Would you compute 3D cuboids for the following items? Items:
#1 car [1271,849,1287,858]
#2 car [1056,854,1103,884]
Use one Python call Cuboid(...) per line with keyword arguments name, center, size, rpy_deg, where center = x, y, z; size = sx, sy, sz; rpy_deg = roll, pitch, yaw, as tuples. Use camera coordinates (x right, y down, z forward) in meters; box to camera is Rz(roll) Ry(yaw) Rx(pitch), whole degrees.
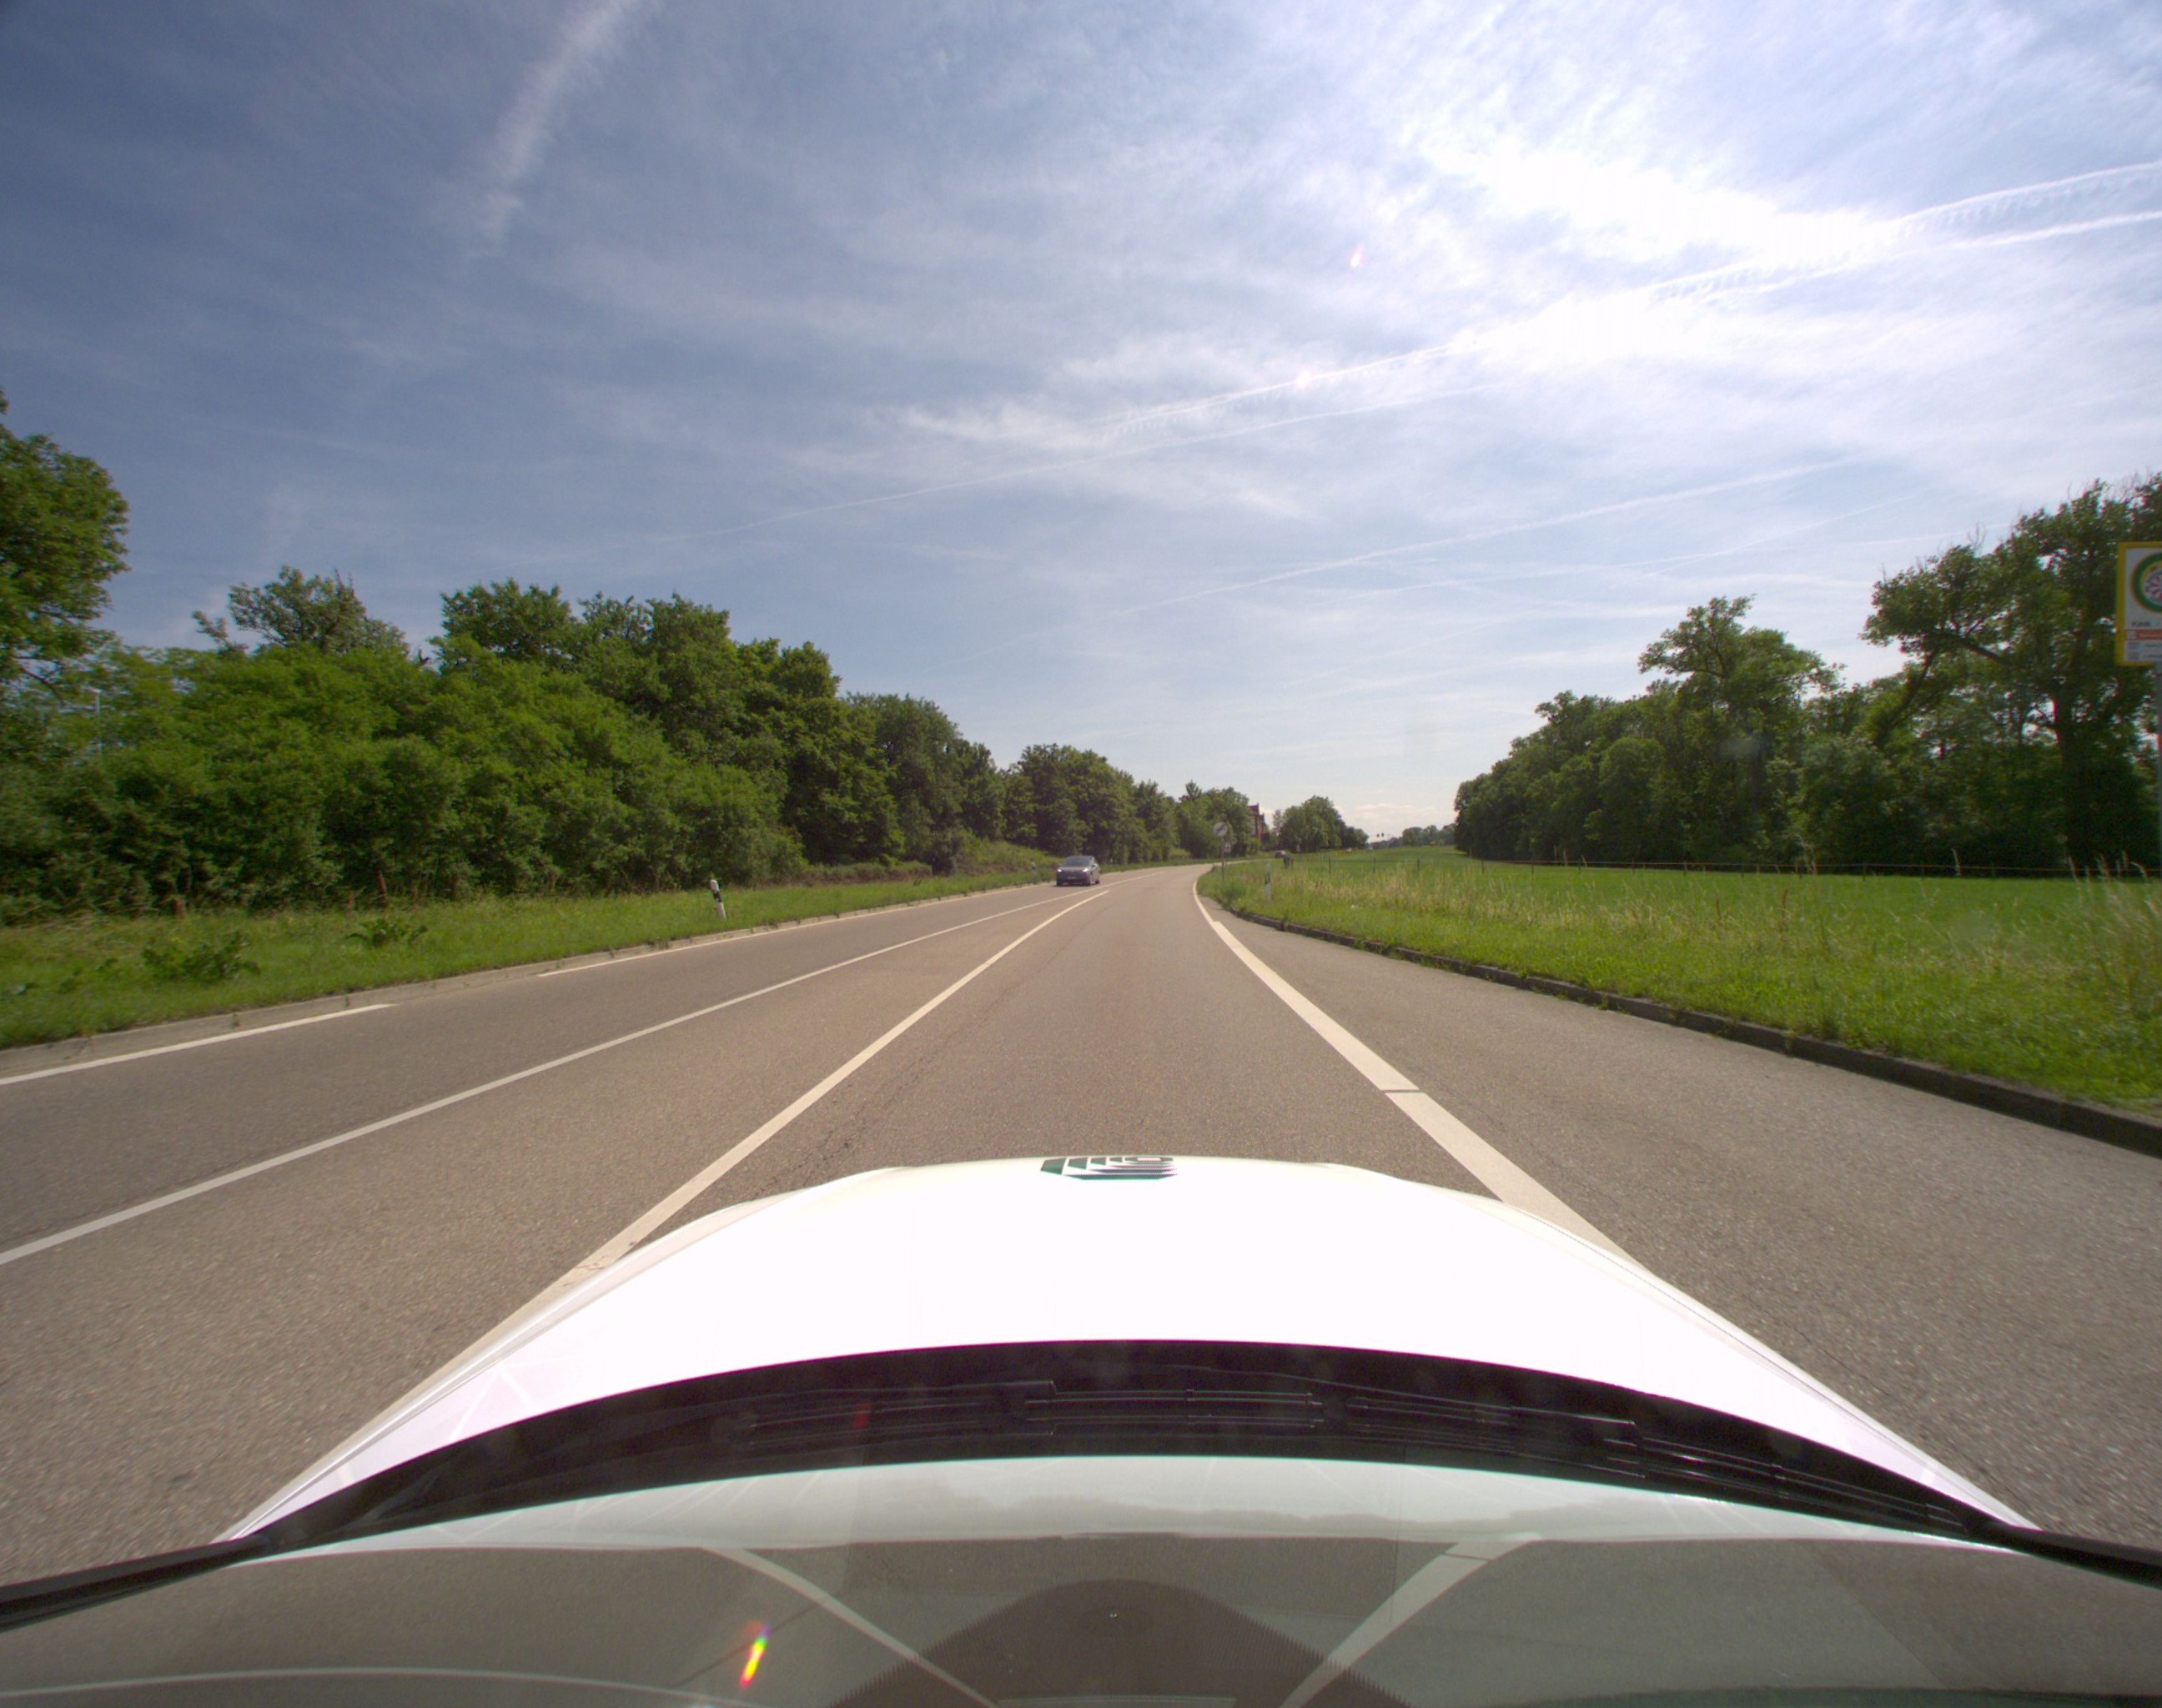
Cuboid(name="car", center=(36.727, -0.034, 150.987), size=(1.974, 1.574, 4.025), rpy_deg=(-1, 0, 29))
Cuboid(name="car", center=(-0.018, 0.760, 42.884), size=(1.744, 1.534, 4.240), rpy_deg=(0, 0, 10))
